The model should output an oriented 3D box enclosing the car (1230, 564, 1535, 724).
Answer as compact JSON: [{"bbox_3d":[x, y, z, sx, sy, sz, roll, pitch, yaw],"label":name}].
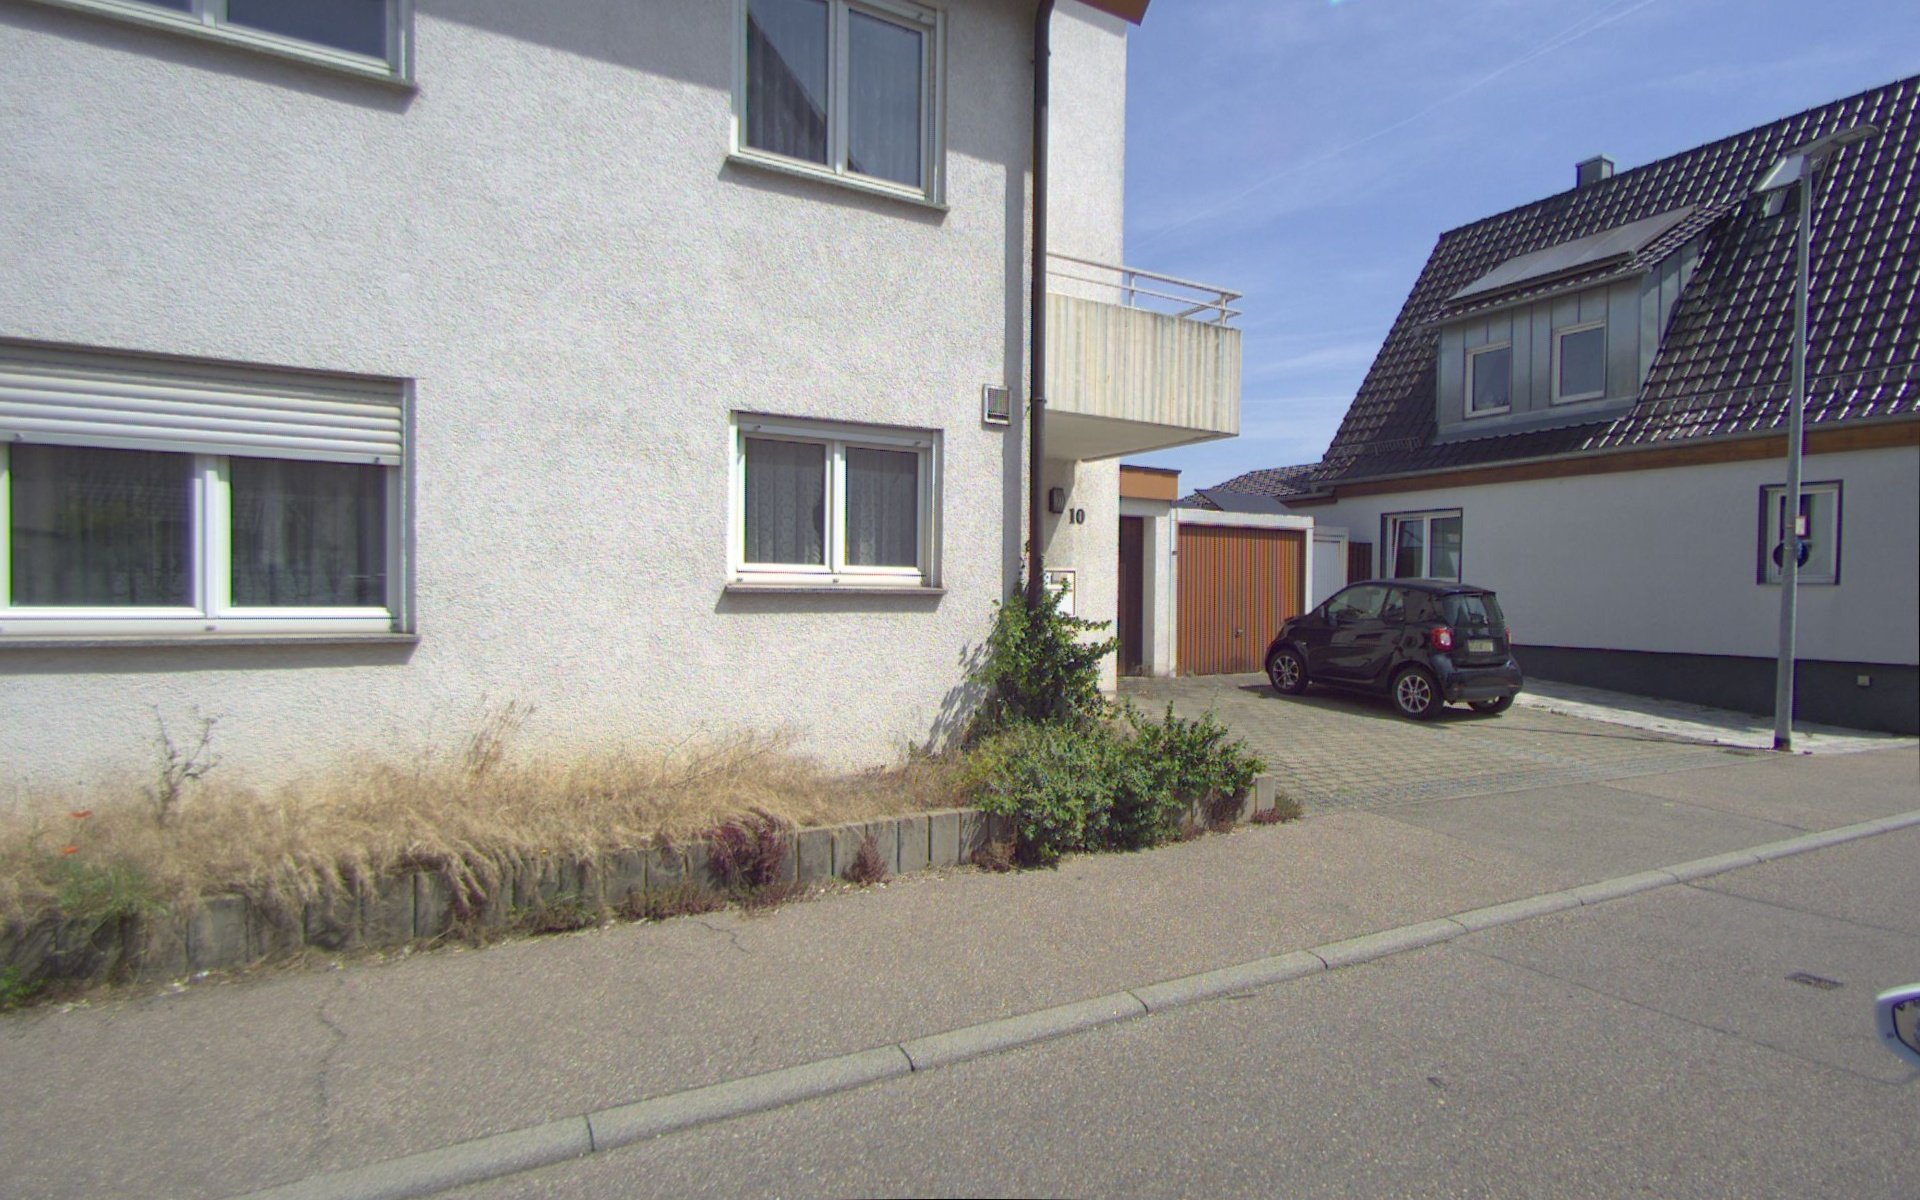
[{"bbox_3d":[5.221,0.453,12.748,1.694,1.598,3.094,1,4,-31],"label":"car"}]
